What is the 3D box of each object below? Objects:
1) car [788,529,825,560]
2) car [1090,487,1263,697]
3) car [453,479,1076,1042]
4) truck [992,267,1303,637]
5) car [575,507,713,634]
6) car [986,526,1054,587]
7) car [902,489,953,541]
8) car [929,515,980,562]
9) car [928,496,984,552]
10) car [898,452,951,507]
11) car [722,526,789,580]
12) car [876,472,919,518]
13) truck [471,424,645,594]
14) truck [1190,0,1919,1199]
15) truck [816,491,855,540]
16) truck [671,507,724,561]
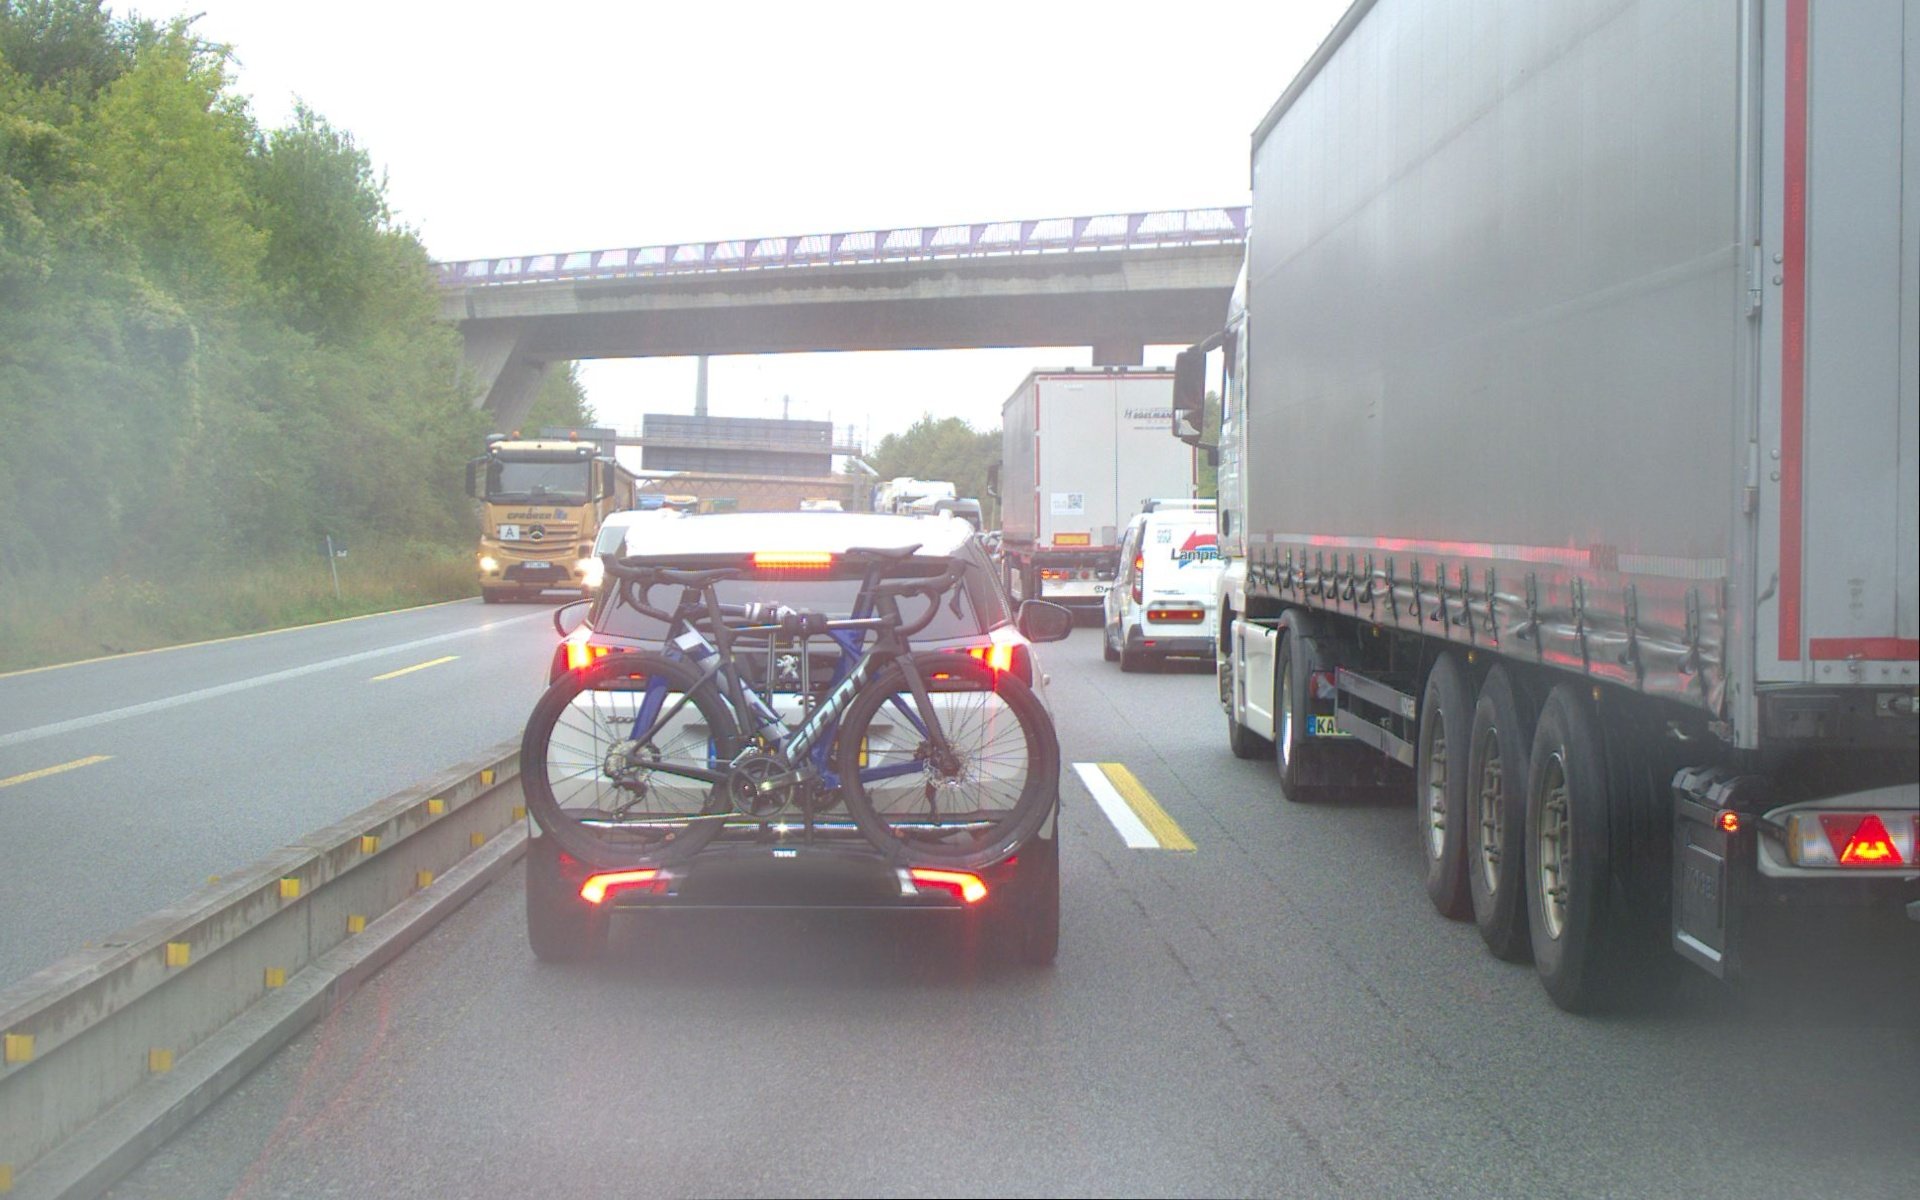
[{"bbox_3d":[-7.078,-2.553,158.789,1.686,1.404,3.930,1,1,-2],"label":"car"},{"bbox_3d":[2.341,-0.114,38.095,1.670,2.173,4.535,1,1,1],"label":"car"},{"bbox_3d":[-0.539,0.436,12.380,1.810,1.632,4.635,1,1,1],"label":"car"},{"bbox_3d":[3.044,-2.432,63.194,4.743,5.654,20.376,1,1,1],"label":"truck"},{"bbox_3d":[-4.768,-0.462,52.325,1.810,1.817,4.636,1,1,-2],"label":"car"},{"bbox_3d":[1.493,-1.099,86.584,1.638,1.492,3.666,1,1,0],"label":"car"},{"bbox_3d":[-1.266,-3.367,137.202,1.993,2.007,4.000,1,1,0],"label":"car"},{"bbox_3d":[-0.173,-1.988,111.990,1.638,1.492,3.666,1,1,0],"label":"car"},{"bbox_3d":[-0.146,-2.751,125.645,1.993,2.007,4.000,1,1,0],"label":"car"},{"bbox_3d":[-1.547,-5.242,150.051,2.239,2.299,4.572,1,1,0],"label":"car"},{"bbox_3d":[-5.503,-1.281,92.946,1.686,1.404,3.930,1,1,-2],"label":"car"},{"bbox_3d":[-2.974,-5.000,164.163,1.993,2.119,4.527,1,1,0],"label":"car"},{"bbox_3d":[-8.516,-1.896,74.157,2.535,3.341,12.051,1,1,-1],"label":"truck"},{"bbox_3d":[3.695,-1.637,17.237,3.980,5.654,20.376,1,1,1],"label":"truck"},{"bbox_3d":[-8.813,-5.932,243.840,2.535,3.341,12.051,1,1,-1],"label":"truck"},{"bbox_3d":[-18.067,-4.515,237.129,2.681,3.644,12.312,1,1,0],"label":"truck"}]
